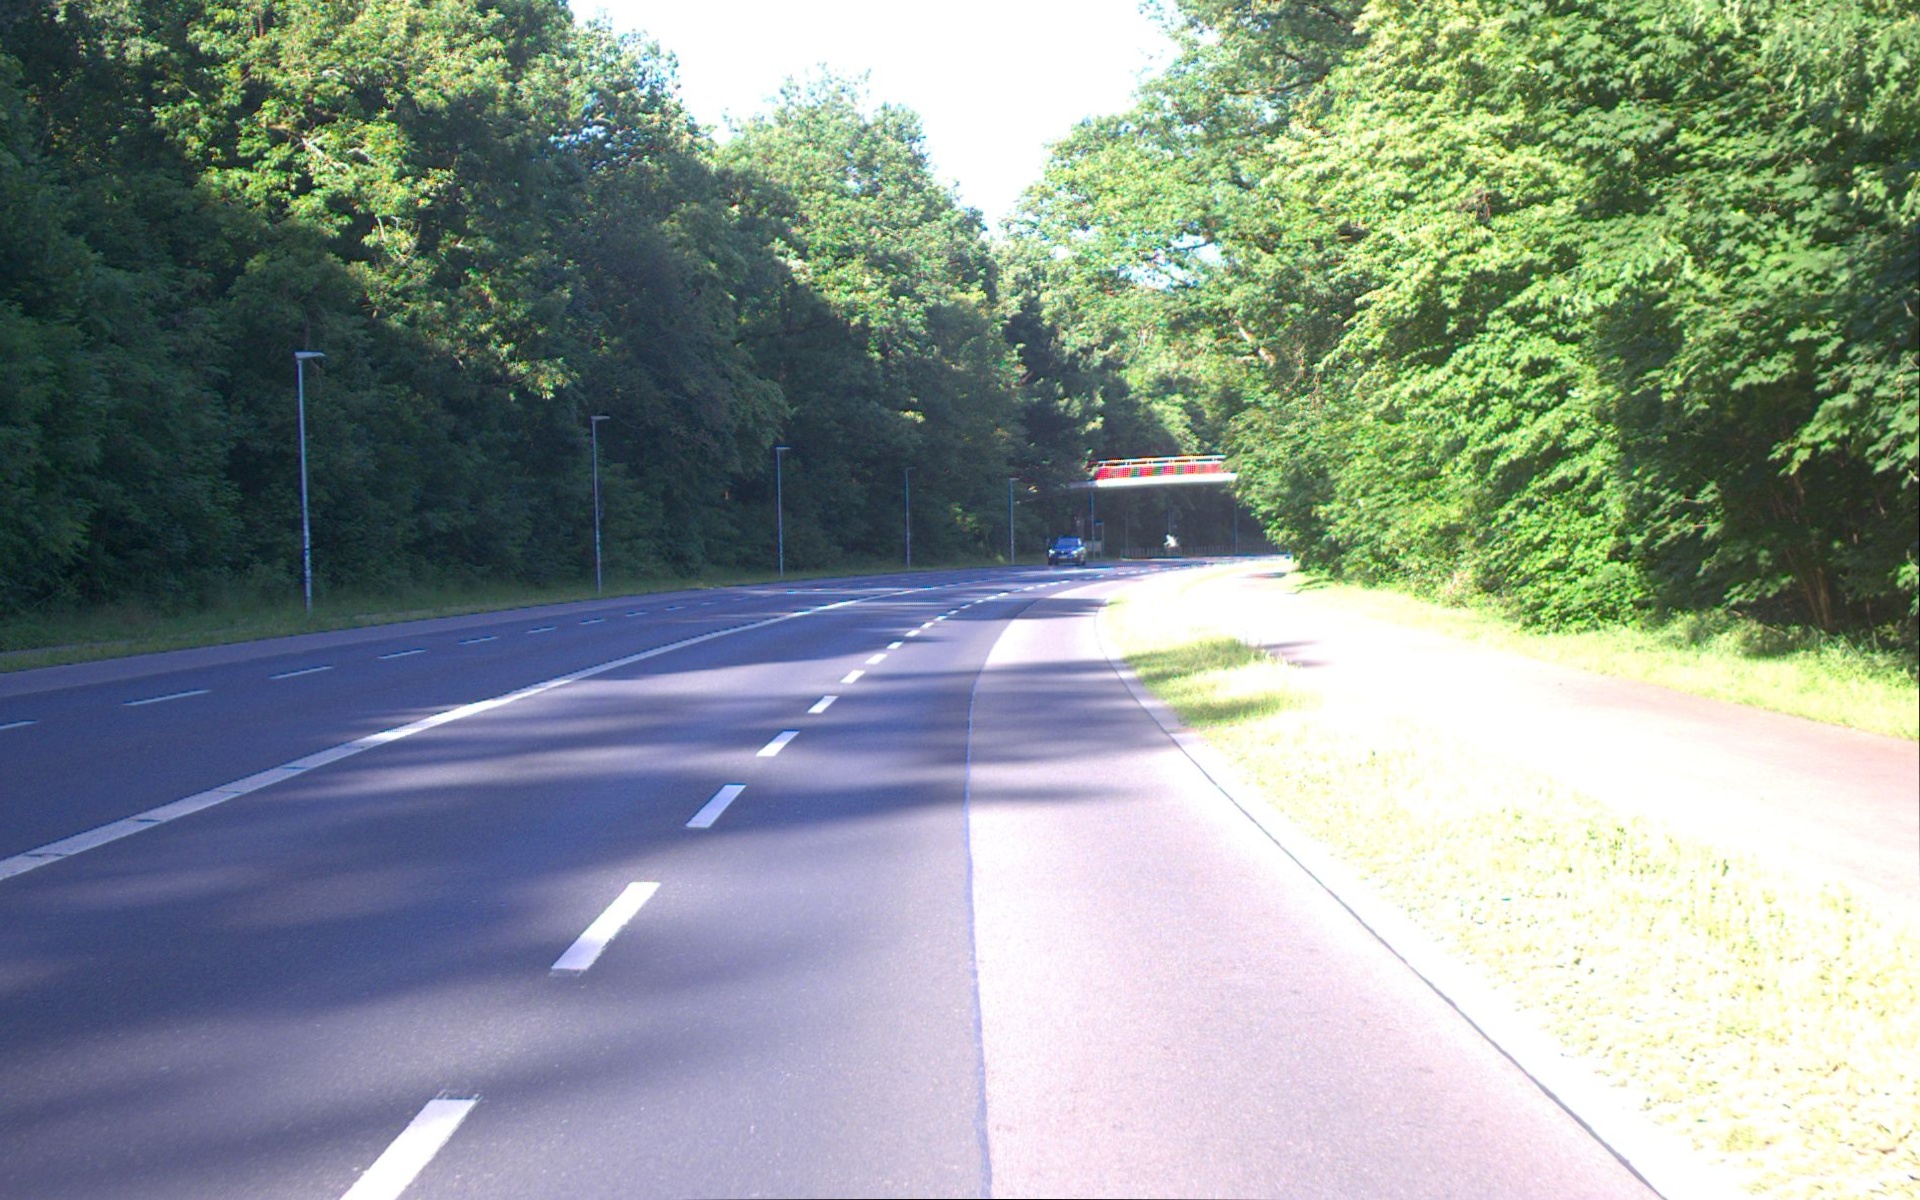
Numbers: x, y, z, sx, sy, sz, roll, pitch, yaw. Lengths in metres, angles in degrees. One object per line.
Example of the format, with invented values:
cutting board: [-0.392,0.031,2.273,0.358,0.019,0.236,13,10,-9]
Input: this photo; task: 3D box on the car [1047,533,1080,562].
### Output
car: [6.027,-3.041,199.783,1.808,1.657,4.521,0,1,3]
